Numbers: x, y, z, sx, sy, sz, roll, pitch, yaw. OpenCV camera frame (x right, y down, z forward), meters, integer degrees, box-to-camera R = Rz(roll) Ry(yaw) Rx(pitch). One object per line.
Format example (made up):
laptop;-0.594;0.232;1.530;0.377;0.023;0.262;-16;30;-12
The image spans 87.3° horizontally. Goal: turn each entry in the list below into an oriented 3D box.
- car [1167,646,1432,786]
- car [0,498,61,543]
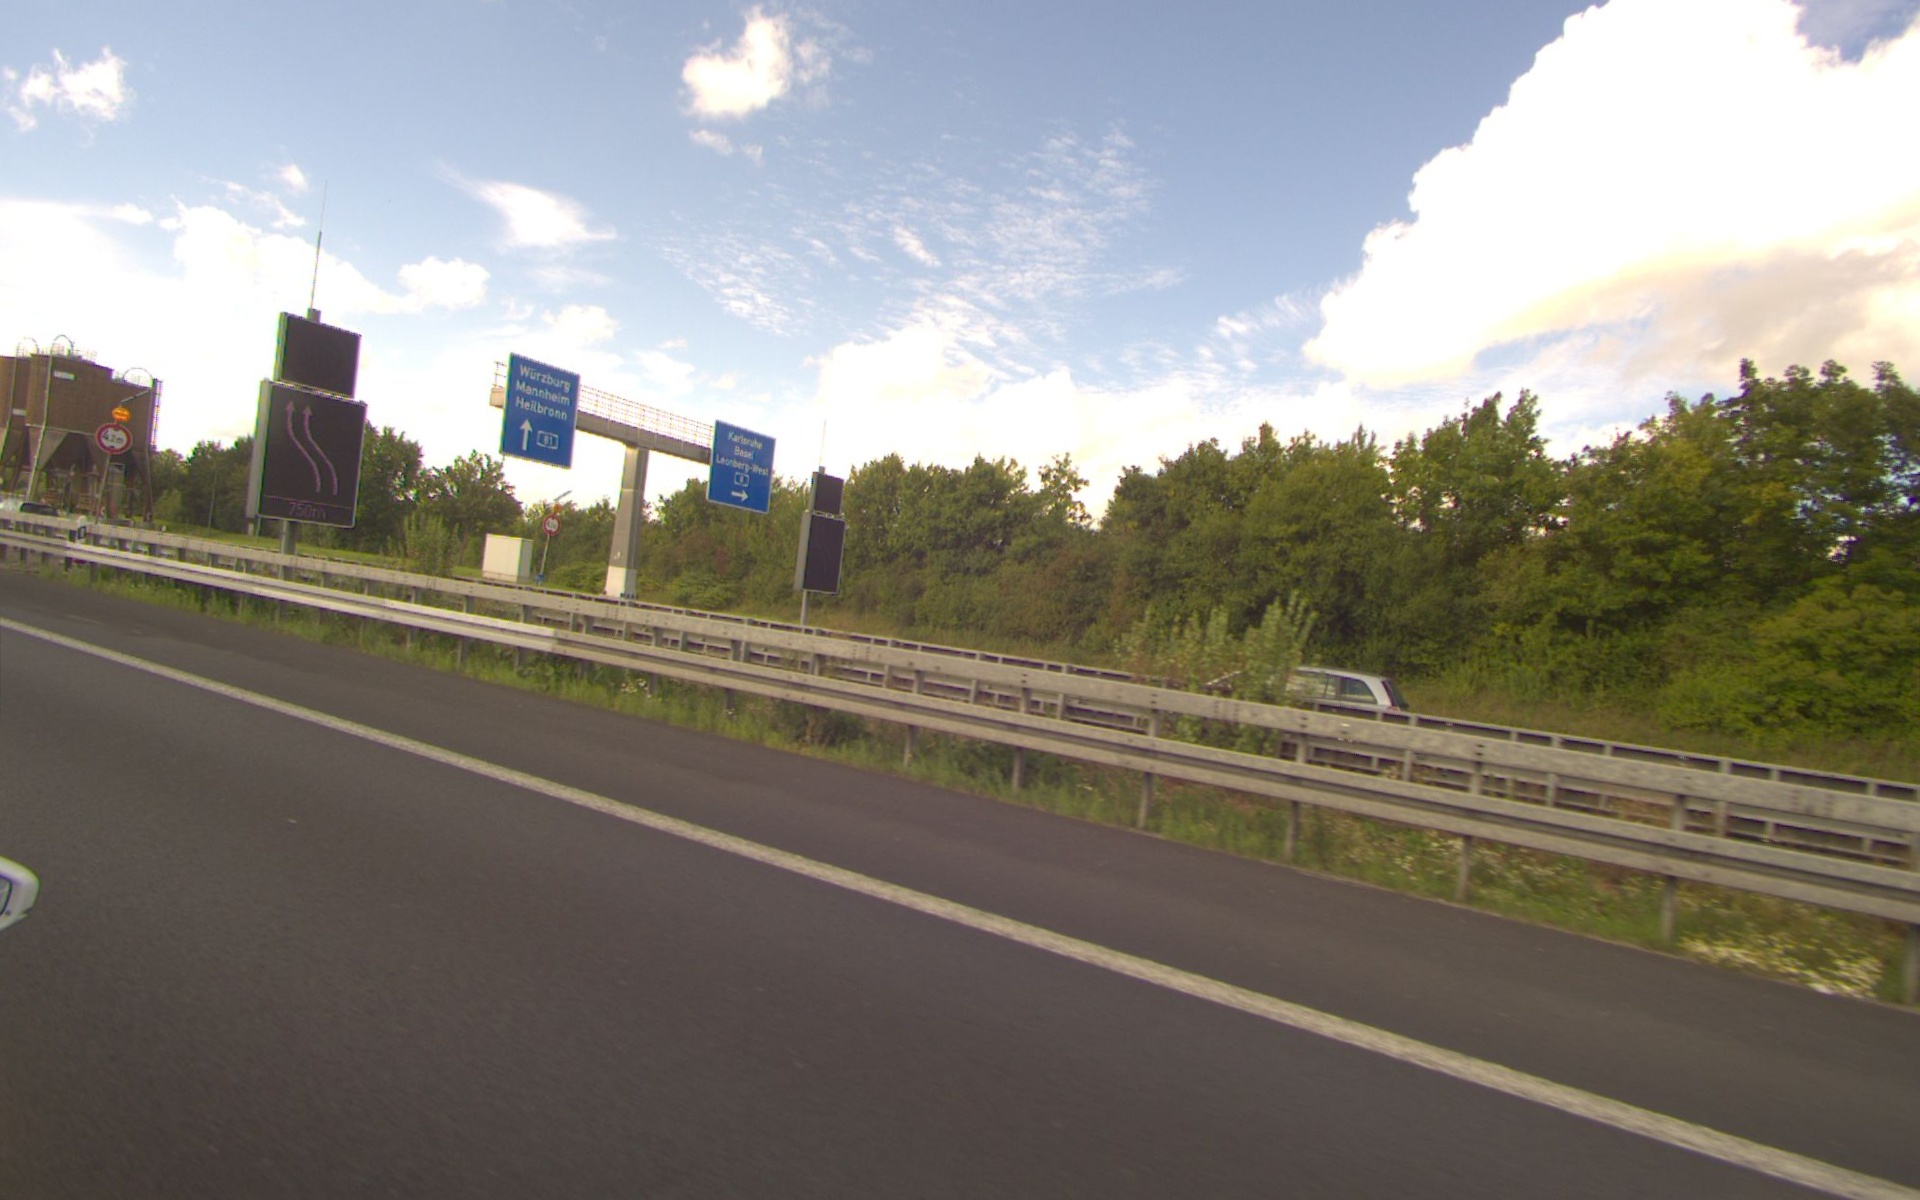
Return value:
car;5.924;1.917;17.624;3.933;1.730;1.995;6;1;31
car;-43.754;-3.751;46.578;3.933;1.739;1.995;6;1;31
